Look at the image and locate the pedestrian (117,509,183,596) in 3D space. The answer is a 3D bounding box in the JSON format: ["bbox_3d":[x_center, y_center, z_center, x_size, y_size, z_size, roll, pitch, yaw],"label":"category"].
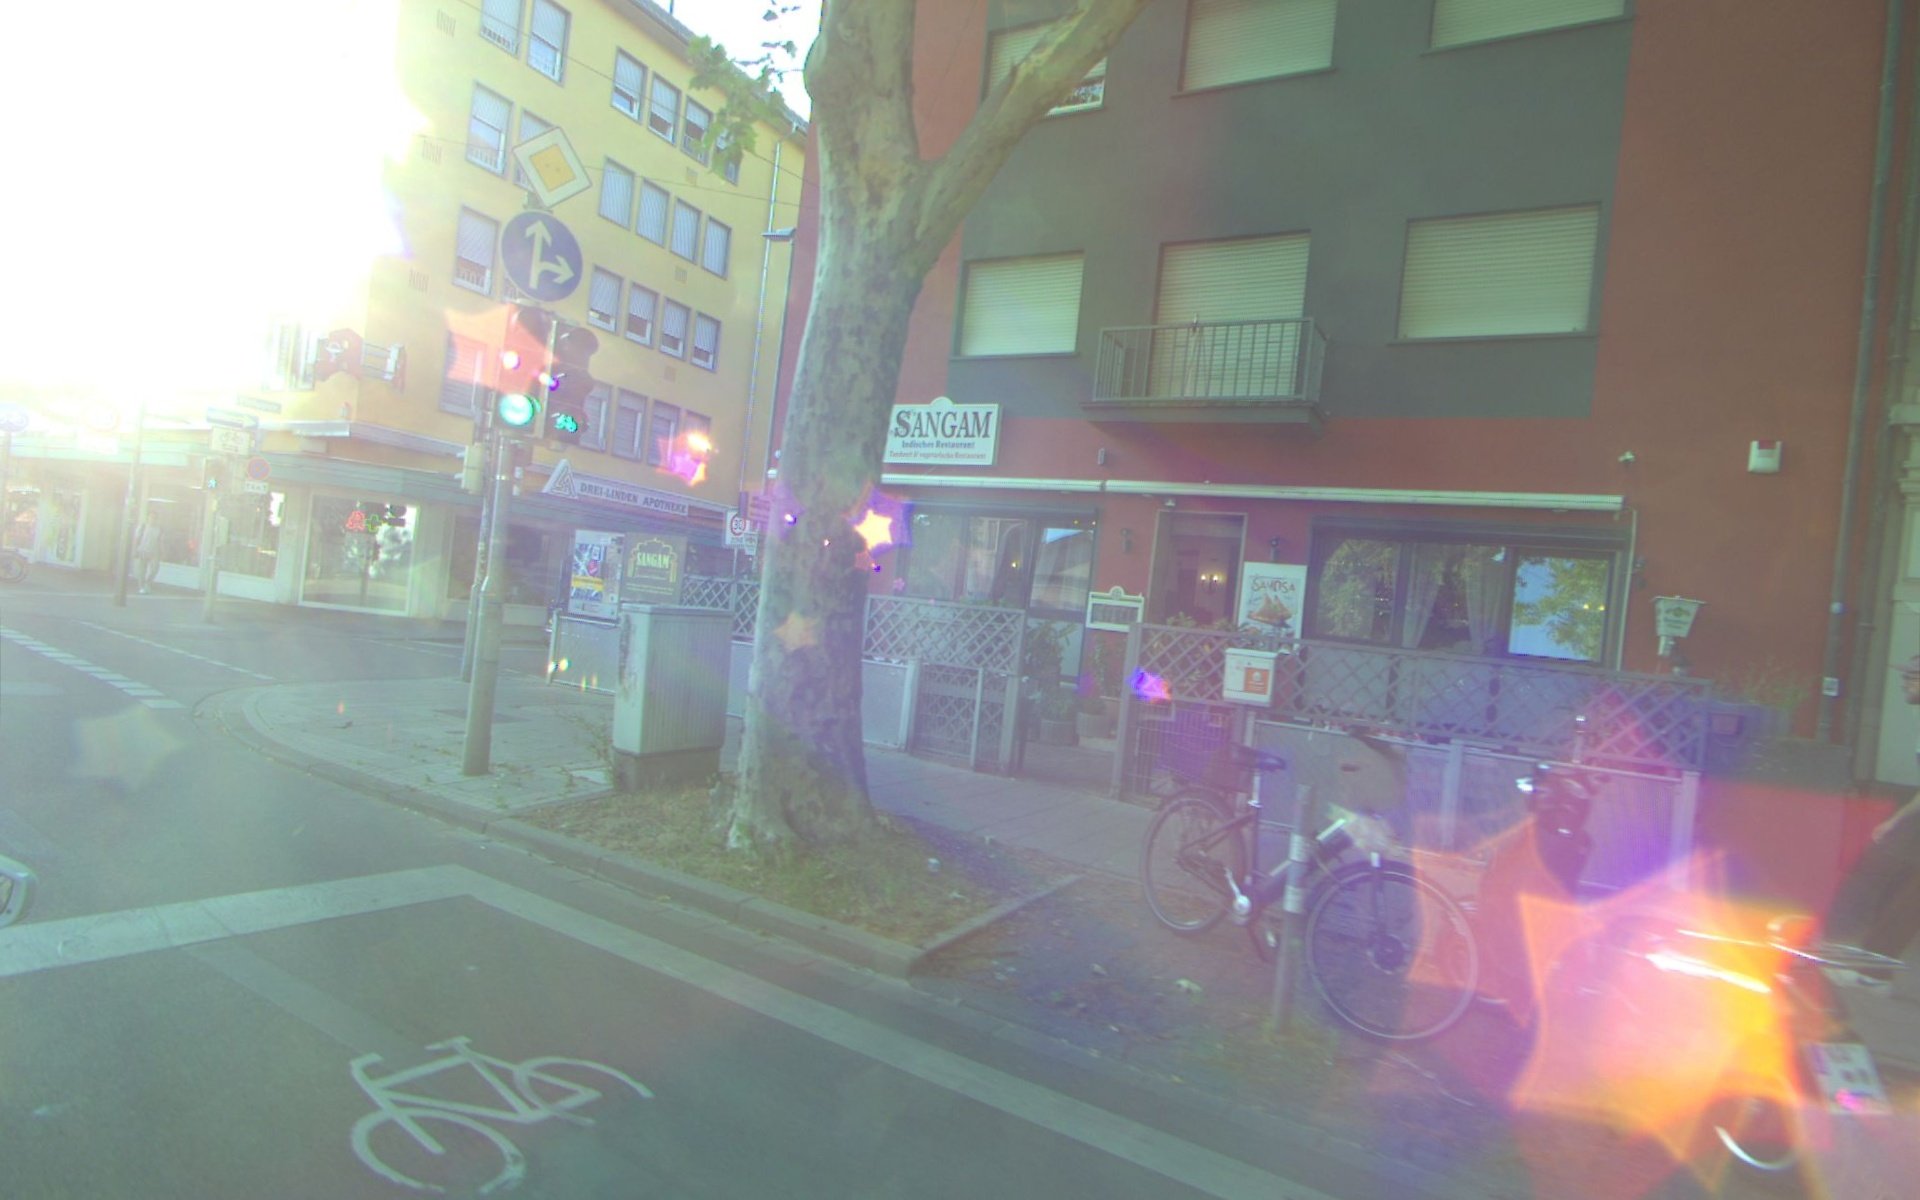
[{"bbox_3d":[-17.781,-1.037,22.092,0.880,1.801,0.744,5,-1,30],"label":"pedestrian"}]

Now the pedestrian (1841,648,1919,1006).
[{"bbox_3d":[5.131,1.144,5.055,0.802,1.733,0.726,5,2,31],"label":"pedestrian"}]

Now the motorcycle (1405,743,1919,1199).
[{"bbox_3d":[2.674,1.292,3.768,0.772,1.125,1.885,6,1,-12],"label":"motorcycle"}]

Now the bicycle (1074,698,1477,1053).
[{"bbox_3d":[1.407,1.188,4.876,0.614,1.125,1.784,5,2,-32],"label":"bicycle"}]

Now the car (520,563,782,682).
[{"bbox_3d":[-5.336,0.487,17.981,1.743,1.707,4.349,6,-1,30],"label":"car"}]

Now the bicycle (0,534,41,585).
[{"bbox_3d":[-20.439,-0.887,20.957,0.531,1.021,1.800,6,1,27],"label":"bicycle"}]

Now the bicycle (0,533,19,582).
[{"bbox_3d":[-20.971,-0.976,21.236,0.446,1.020,1.486,6,-1,27],"label":"bicycle"}]
